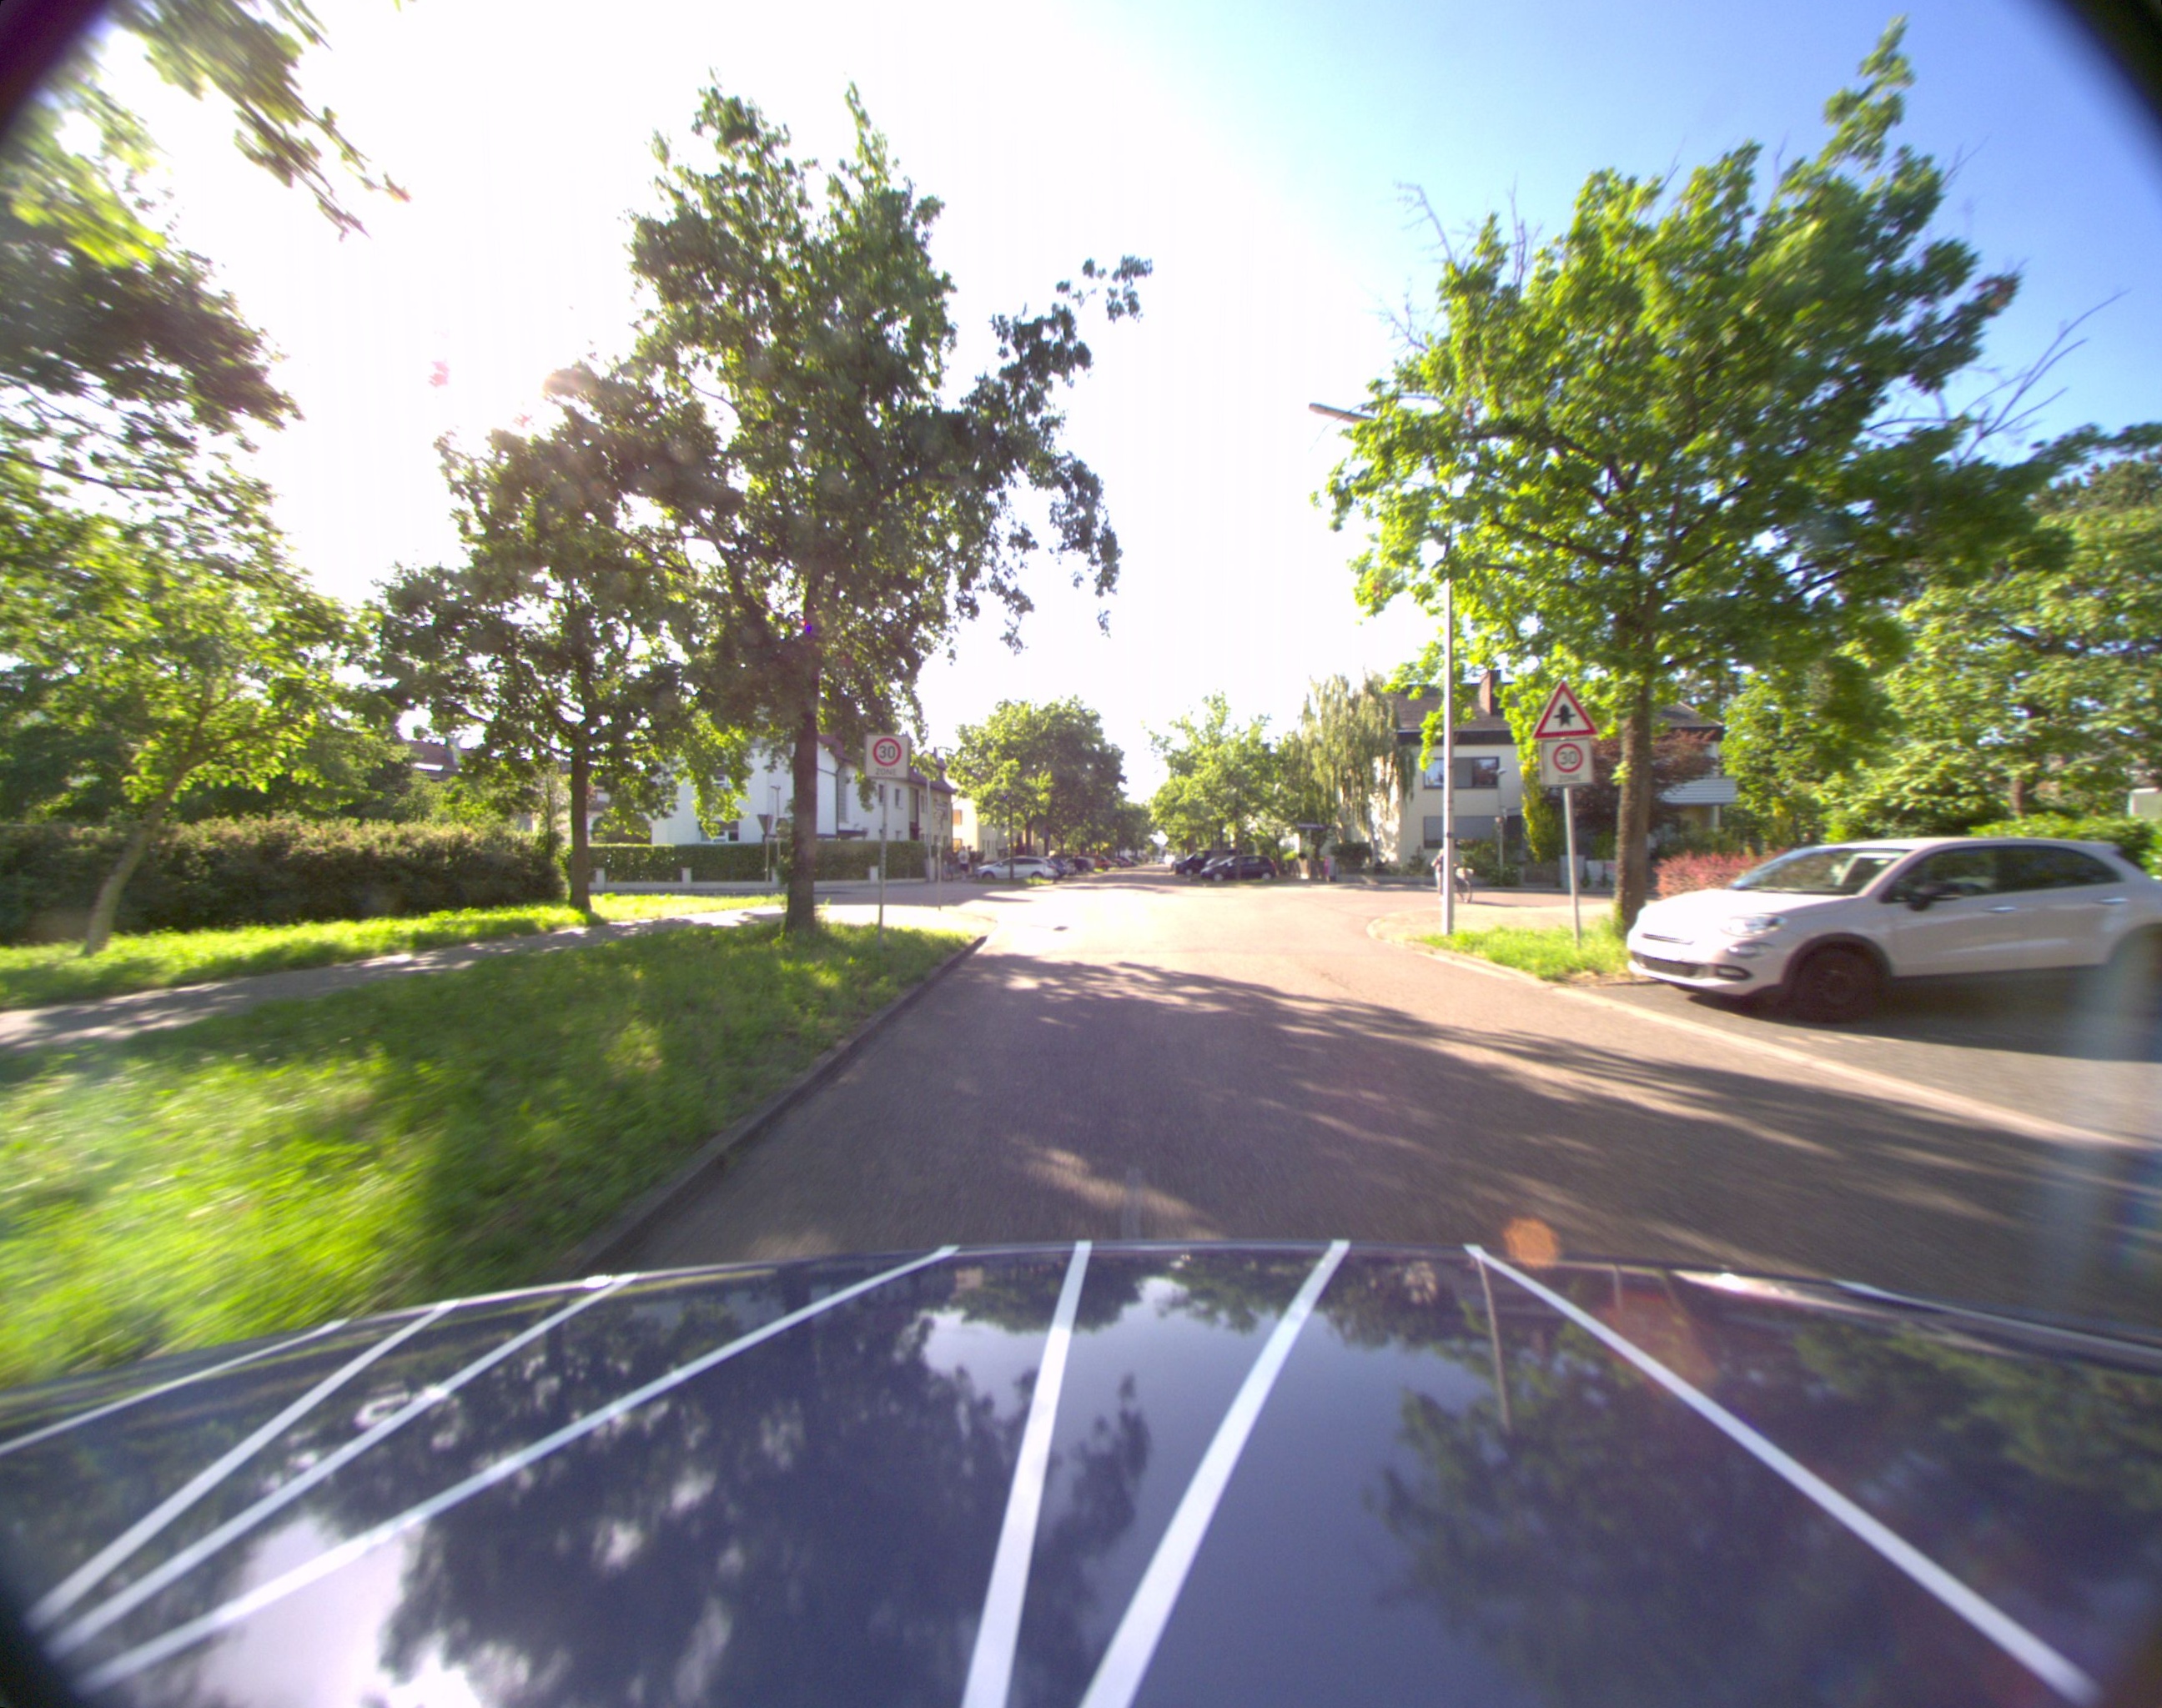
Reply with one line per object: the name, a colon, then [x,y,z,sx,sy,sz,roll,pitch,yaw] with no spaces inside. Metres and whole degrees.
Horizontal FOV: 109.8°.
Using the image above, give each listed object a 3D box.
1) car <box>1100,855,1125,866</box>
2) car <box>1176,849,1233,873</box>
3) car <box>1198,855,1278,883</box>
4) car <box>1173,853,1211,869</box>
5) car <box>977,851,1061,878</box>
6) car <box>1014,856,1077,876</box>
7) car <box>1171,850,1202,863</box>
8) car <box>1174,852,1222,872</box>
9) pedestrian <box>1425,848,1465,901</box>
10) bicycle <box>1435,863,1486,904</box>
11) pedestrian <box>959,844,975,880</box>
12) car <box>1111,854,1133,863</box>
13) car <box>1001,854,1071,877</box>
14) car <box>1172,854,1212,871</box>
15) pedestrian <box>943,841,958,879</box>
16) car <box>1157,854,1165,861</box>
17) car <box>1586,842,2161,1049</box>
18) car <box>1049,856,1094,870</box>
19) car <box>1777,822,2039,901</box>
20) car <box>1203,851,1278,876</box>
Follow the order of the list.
car: [5.176,1.000,125.361,4.034,1.767,1.942,0,1,5]
car: [9.013,0.517,55.853,4.034,1.767,1.942,0,1,5]
car: [8.441,0.787,41.153,4.034,1.471,1.942,0,0,5]
car: [12.130,0.776,82.972,4.034,1.767,1.942,0,1,5]
car: [-3.420,0.592,42.575,4.511,1.471,1.941,0,0,1]
car: [-2.566,0.864,56.279,4.511,1.471,1.941,0,0,1]
car: [14.271,0.318,102.706,4.034,1.767,1.942,0,1,5]
car: [10.170,0.684,66.193,4.034,1.767,1.942,0,1,5]
pedestrian: [10.935,0.615,22.842,0.728,1.534,0.867,0,3,-3]
bicycle: [11.305,0.854,22.706,0.640,1.082,1.891,0,2,3]
pedestrian: [-6.056,0.416,40.393,0.665,1.855,0.869,0,1,1]
car: [7.844,0.805,144.305,4.034,1.767,1.942,0,1,5]
car: [-2.994,0.778,51.238,4.511,1.471,1.941,0,0,1]
car: [11.425,0.874,78.552,4.034,1.767,1.942,0,1,5]
pedestrian: [-6.934,0.302,40.381,0.610,2.002,0.834,0,1,1]
car: [20.309,0.851,192.227,1.939,1.767,4.041,0,0,6]
car: [7.570,0.772,7.344,4.073,1.633,1.876,-2,0,2]
car: [-0.898,0.912,77.363,4.511,1.471,1.941,0,0,1]
car: [26.839,0.247,24.889,5.814,2.439,2.001,0,1,9]
car: [9.261,0.540,44.347,4.036,1.471,1.941,0,0,1]
